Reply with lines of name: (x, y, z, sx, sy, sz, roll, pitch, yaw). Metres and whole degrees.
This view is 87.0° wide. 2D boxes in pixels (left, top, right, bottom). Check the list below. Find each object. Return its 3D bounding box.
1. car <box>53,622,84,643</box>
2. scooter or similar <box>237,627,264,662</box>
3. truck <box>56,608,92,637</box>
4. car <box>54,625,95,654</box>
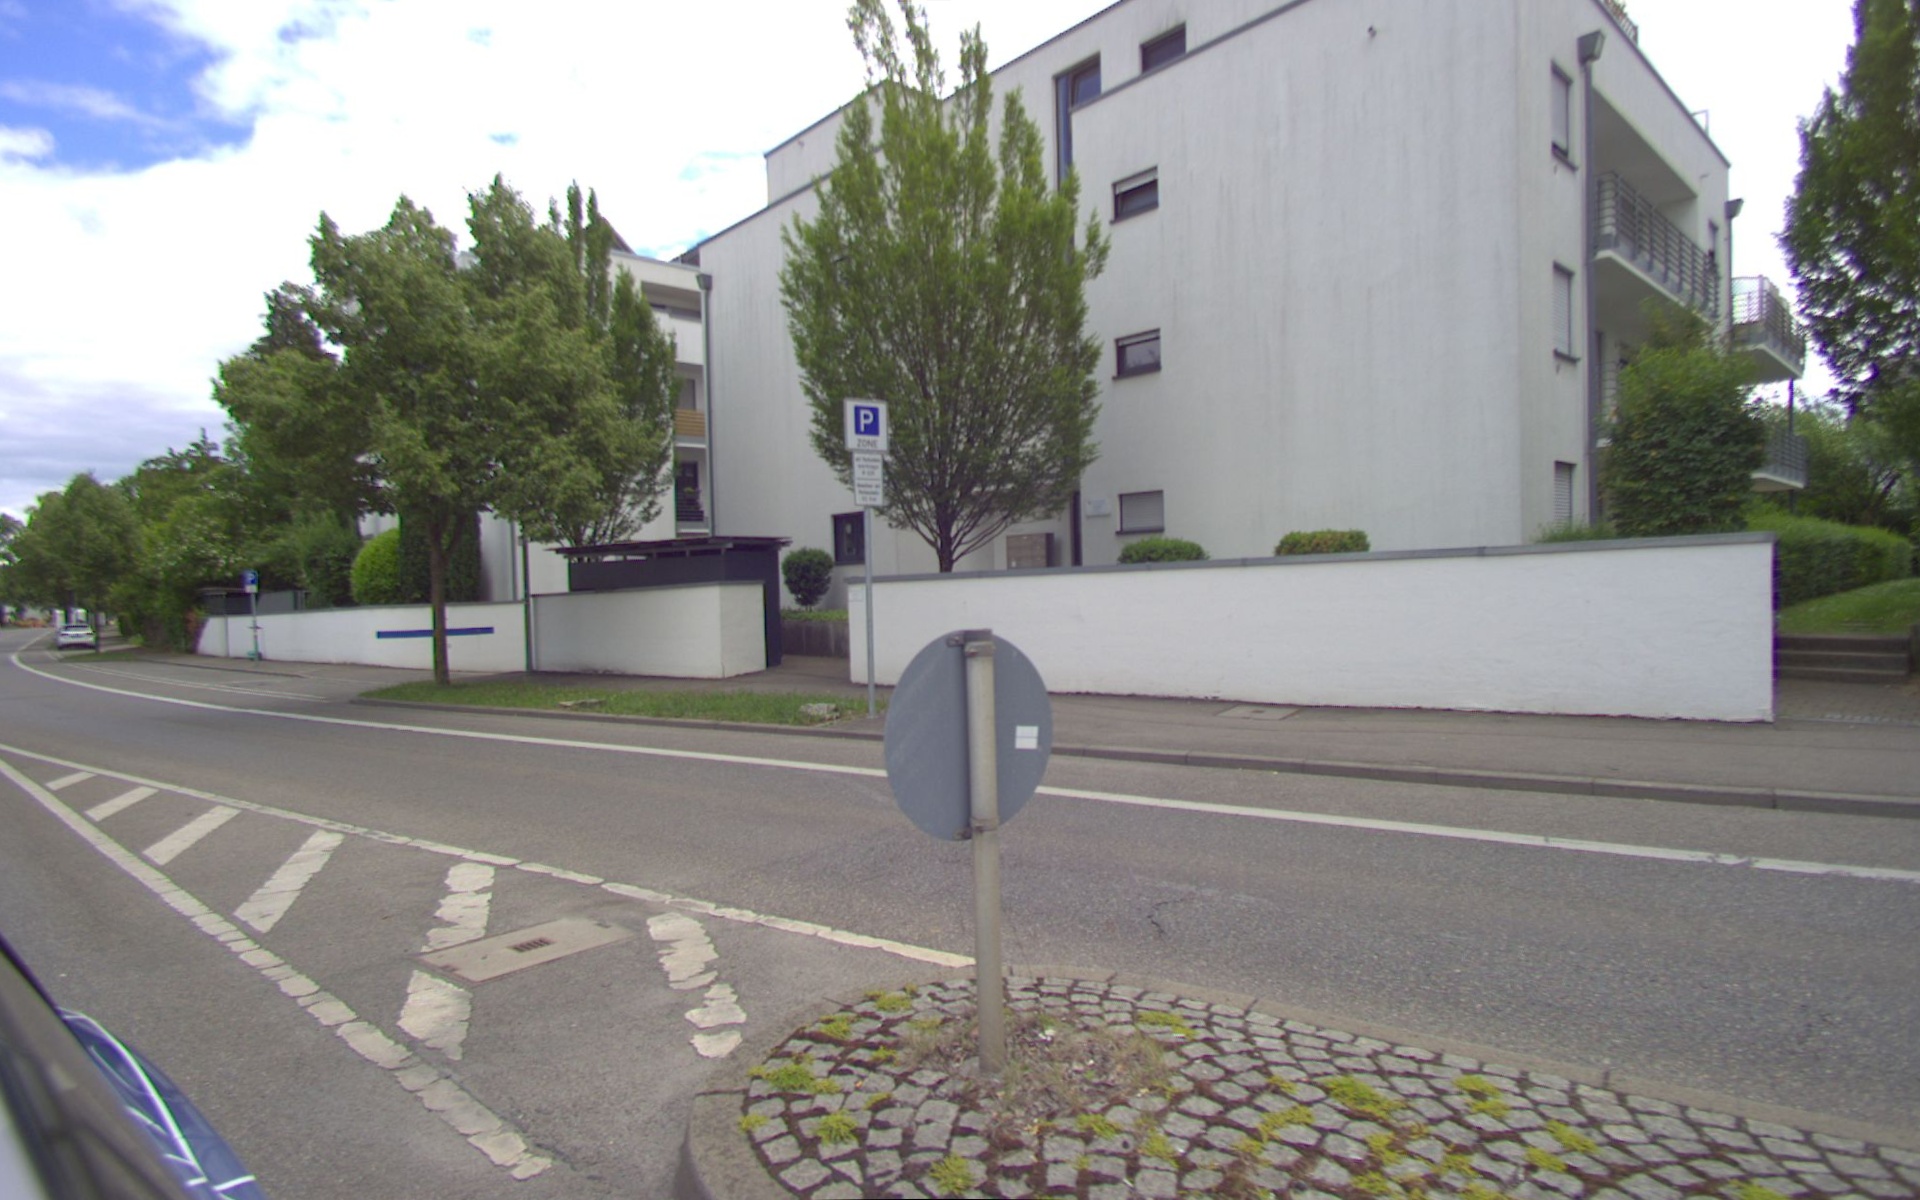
car: (-74.292, 2.676, 84.373, 1.862, 1.628, 4.006, -2, 0, -41)
scooter or similar: (-24.754, 1.554, 35.301, 1.327, 1.174, 0.429, -2, 3, 43)
truck: (-91.576, 2.340, 104.624, 2.604, 2.793, 6.264, -2, 1, -42)
car: (-56.266, 2.479, 64.323, 1.889, 1.665, 4.006, -2, 0, -41)
